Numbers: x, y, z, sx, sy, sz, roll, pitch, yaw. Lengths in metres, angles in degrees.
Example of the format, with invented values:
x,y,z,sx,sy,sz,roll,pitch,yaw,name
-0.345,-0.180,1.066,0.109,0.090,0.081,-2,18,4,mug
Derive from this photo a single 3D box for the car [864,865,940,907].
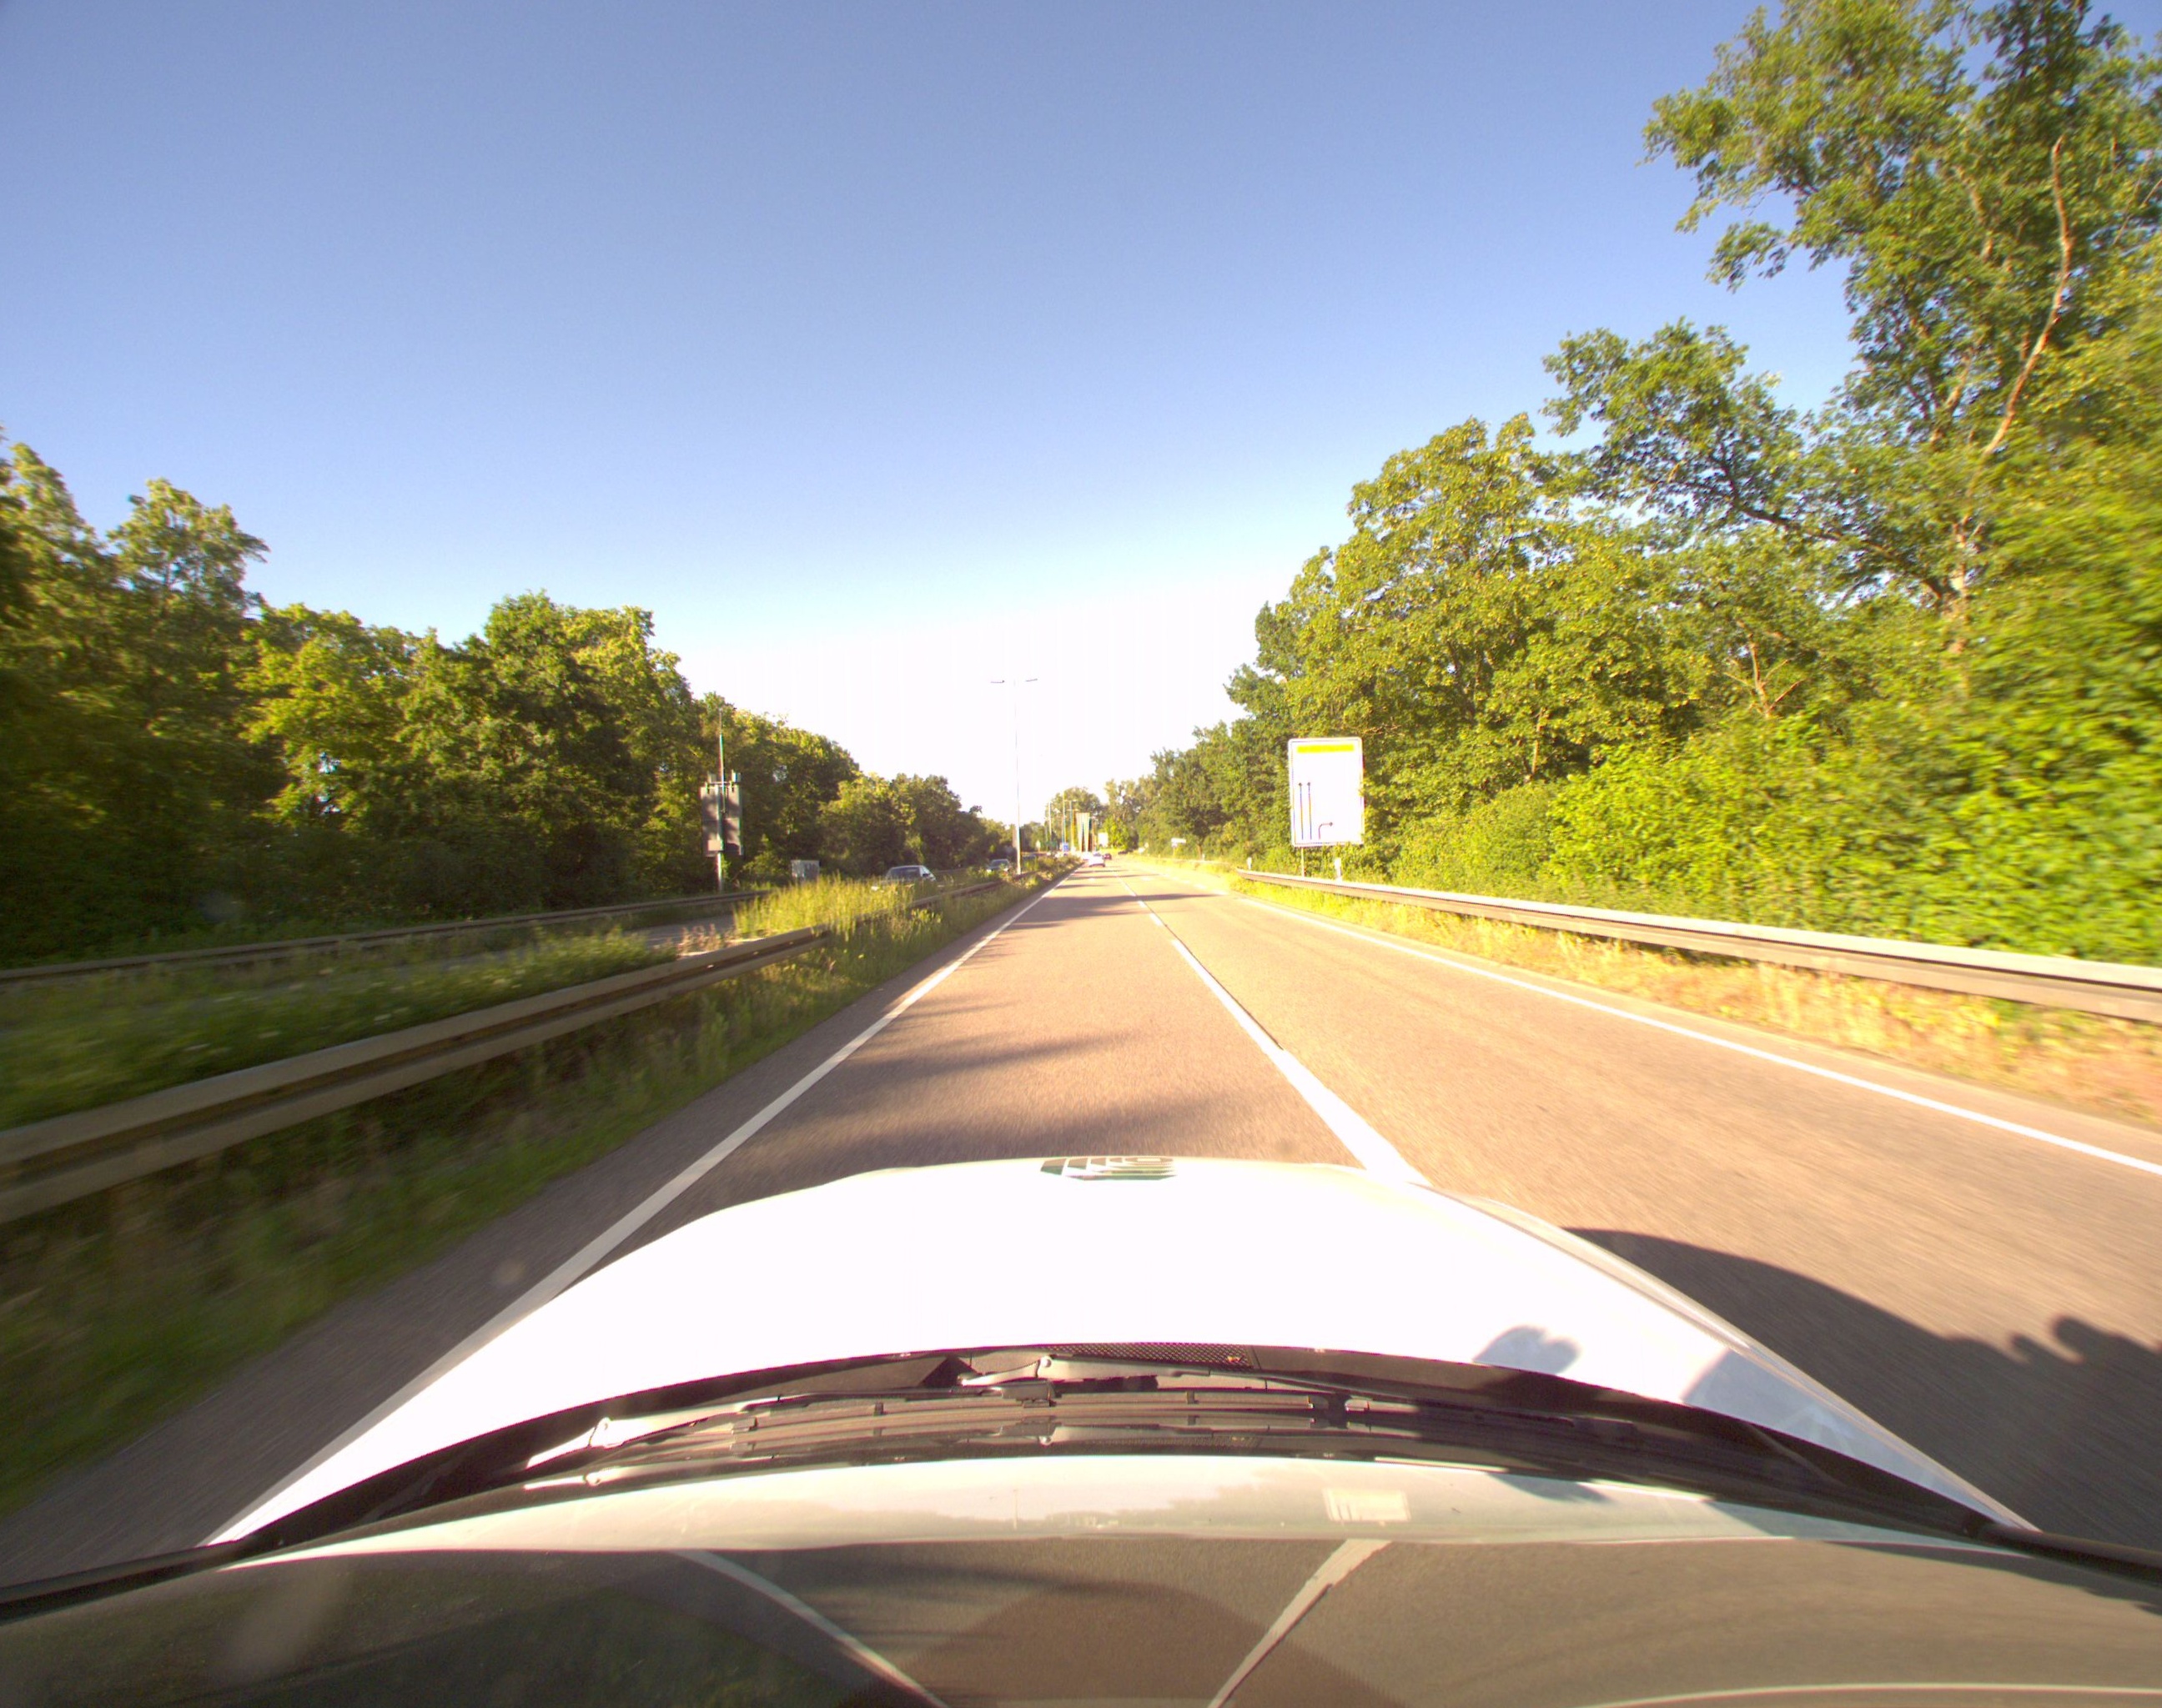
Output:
x,y,z,sx,sy,sz,roll,pitch,yaw,name
-7.018,1.206,32.403,1.774,1.403,4.556,-3,0,3,car

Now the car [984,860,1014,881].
x,y,z,sx,sy,sz,roll,pitch,yaw,name
-6.423,1.253,64.107,1.612,1.530,4.612,-3,0,3,car

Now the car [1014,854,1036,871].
x,y,z,sx,sy,sz,roll,pitch,yaw,name
-5.970,0.901,87.292,1.835,1.757,4.713,-2,0,1,car

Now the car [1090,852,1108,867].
x,y,z,sx,sy,sz,roll,pitch,yaw,name
2.138,0.660,97.924,1.987,1.640,4.128,-3,1,0,car

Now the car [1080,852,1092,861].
x,y,z,sx,sy,sz,roll,pitch,yaw,name
1.116,0.581,179.174,1.992,1.879,4.239,-3,1,-7,car

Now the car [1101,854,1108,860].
x,y,z,sx,sy,sz,roll,pitch,yaw,name
5.448,0.644,192.509,1.619,1.280,2.987,0,-1,1,car

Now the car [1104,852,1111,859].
x,y,z,sx,sy,sz,roll,pitch,yaw,name
5.703,0.340,174.651,1.383,1.280,2.987,0,-1,1,car

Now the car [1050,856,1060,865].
x,y,z,sx,sy,sz,roll,pitch,yaw,name
-5.197,1.298,163.180,1.779,1.710,4.547,-3,0,1,car

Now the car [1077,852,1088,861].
x,y,z,sx,sy,sz,roll,pitch,yaw,name
0.423,0.594,200.423,1.995,2.014,3.984,0,-1,-12,car
